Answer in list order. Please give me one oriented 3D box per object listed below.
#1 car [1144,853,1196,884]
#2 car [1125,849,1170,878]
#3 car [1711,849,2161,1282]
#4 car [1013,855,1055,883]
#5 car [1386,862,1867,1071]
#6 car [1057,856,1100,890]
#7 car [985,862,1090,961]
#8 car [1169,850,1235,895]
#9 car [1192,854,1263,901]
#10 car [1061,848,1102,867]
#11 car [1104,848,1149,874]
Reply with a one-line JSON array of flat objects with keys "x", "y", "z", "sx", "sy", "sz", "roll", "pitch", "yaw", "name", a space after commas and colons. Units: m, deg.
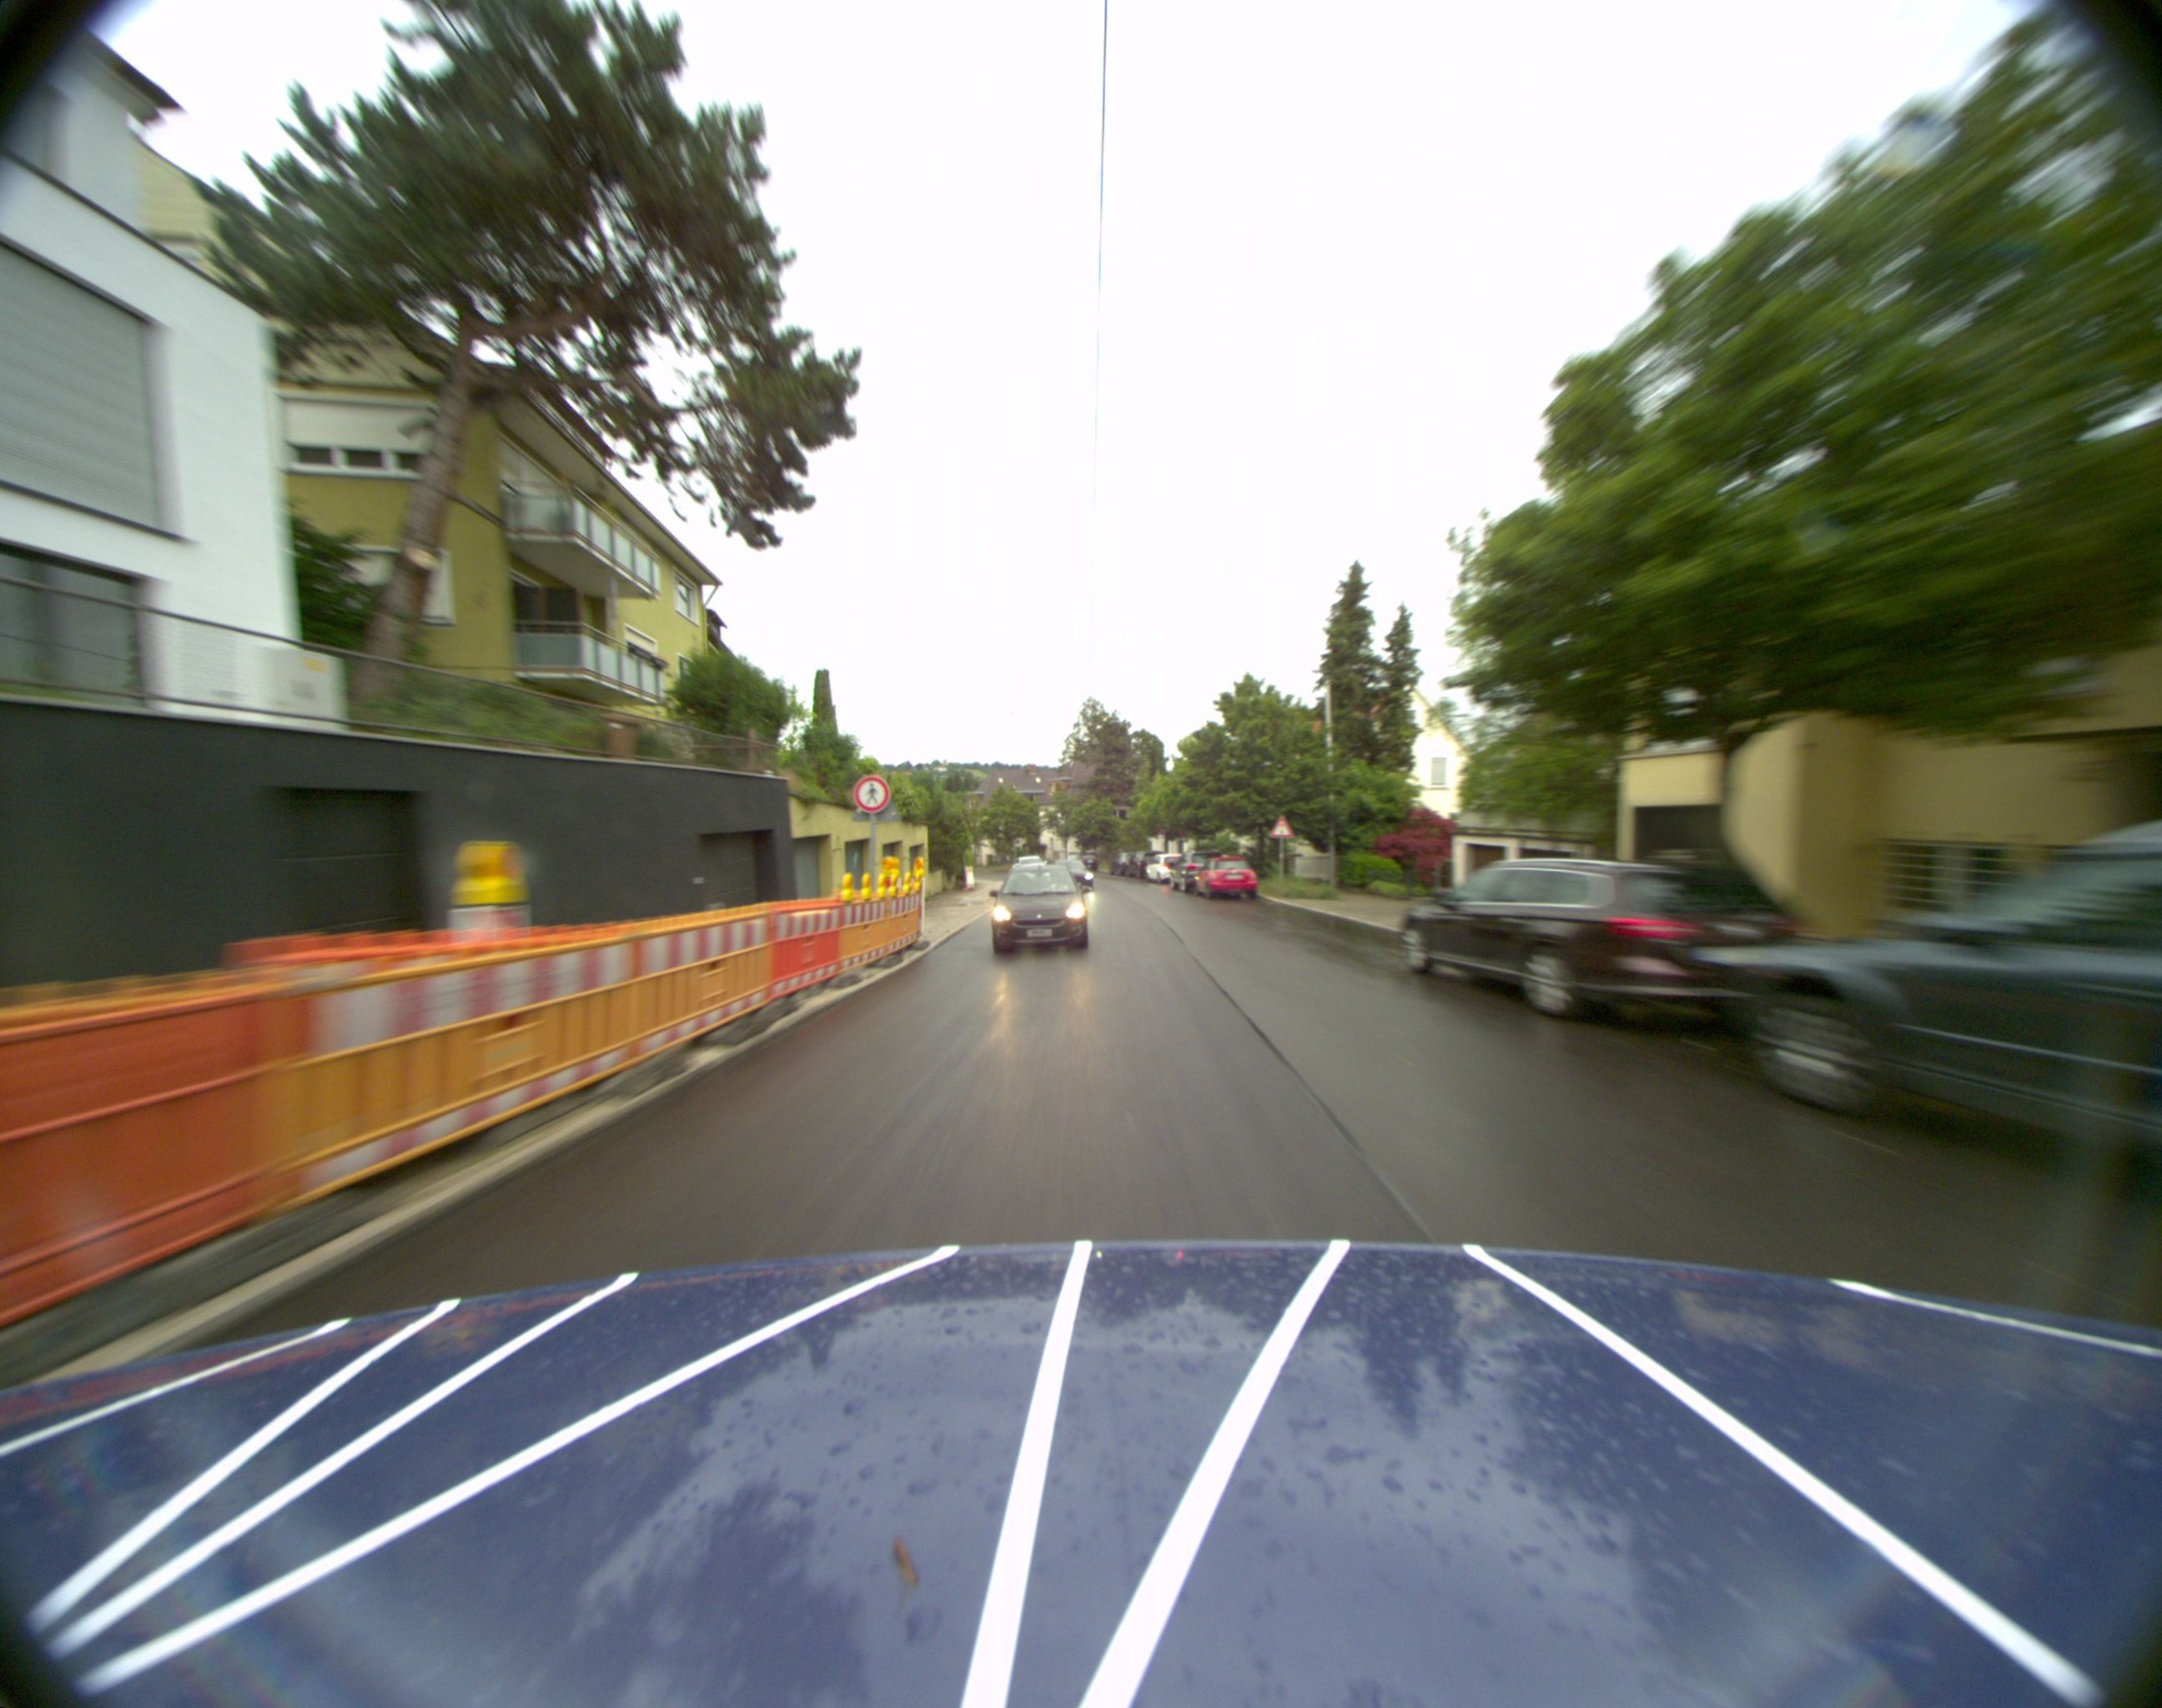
[{"x": 4.595, "y": 0.709, "z": 39.818, "sx": 1.739, "sy": 1.458, "sz": 3.997, "roll": -3, "pitch": 1, "yaw": -7, "name": "car"}, {"x": 3.934, "y": 0.549, "z": 45.472, "sx": 1.739, "sy": 1.536, "sz": 4.206, "roll": -3, "pitch": 1, "yaw": -7, "name": "car"}, {"x": 4.968, "y": 0.794, "z": 2.953, "sx": 1.772, "sy": 1.625, "sz": 4.110, "roll": -1, "pitch": 0, "yaw": 3, "name": "car"}, {"x": -3.189, "y": 0.939, "z": 50.311, "sx": 2.002, "sy": 1.699, "sz": 4.568, "roll": -2, "pitch": 1, "yaw": -13, "name": "car"}, {"x": 5.058, "y": 0.877, "z": 8.062, "sx": 1.772, "sy": 1.526, "sz": 4.605, "roll": 0, "pitch": 0, "yaw": 0, "name": "car"}, {"x": -0.164, "y": 0.833, "z": 35.598, "sx": 1.843, "sy": 1.395, "sz": 4.070, "roll": -2, "pitch": 1, "yaw": -1, "name": "car"}, {"x": -0.818, "y": 0.977, "z": 14.925, "sx": 1.674, "sy": 1.457, "sz": 4.714, "roll": -2, "pitch": 1, "yaw": -2, "name": "car"}, {"x": 4.936, "y": 0.693, "z": 31.544, "sx": 1.806, "sy": 1.659, "sz": 4.424, "roll": -1, "pitch": 1, "yaw": -3, "name": "car"}, {"x": 5.069, "y": 0.776, "z": 26.804, "sx": 1.686, "sy": 1.463, "sz": 3.864, "roll": -1, "pitch": 1, "yaw": -1, "name": "car"}, {"x": -0.002, "y": 0.304, "z": 61.460, "sx": 1.677, "sy": 1.458, "sz": 3.886, "roll": -3, "pitch": 1, "yaw": -27, "name": "car"}, {"x": 2.954, "y": 0.408, "z": 50.906, "sx": 1.873, "sy": 1.536, "sz": 4.899, "roll": -3, "pitch": 1, "yaw": -10, "name": "car"}]
